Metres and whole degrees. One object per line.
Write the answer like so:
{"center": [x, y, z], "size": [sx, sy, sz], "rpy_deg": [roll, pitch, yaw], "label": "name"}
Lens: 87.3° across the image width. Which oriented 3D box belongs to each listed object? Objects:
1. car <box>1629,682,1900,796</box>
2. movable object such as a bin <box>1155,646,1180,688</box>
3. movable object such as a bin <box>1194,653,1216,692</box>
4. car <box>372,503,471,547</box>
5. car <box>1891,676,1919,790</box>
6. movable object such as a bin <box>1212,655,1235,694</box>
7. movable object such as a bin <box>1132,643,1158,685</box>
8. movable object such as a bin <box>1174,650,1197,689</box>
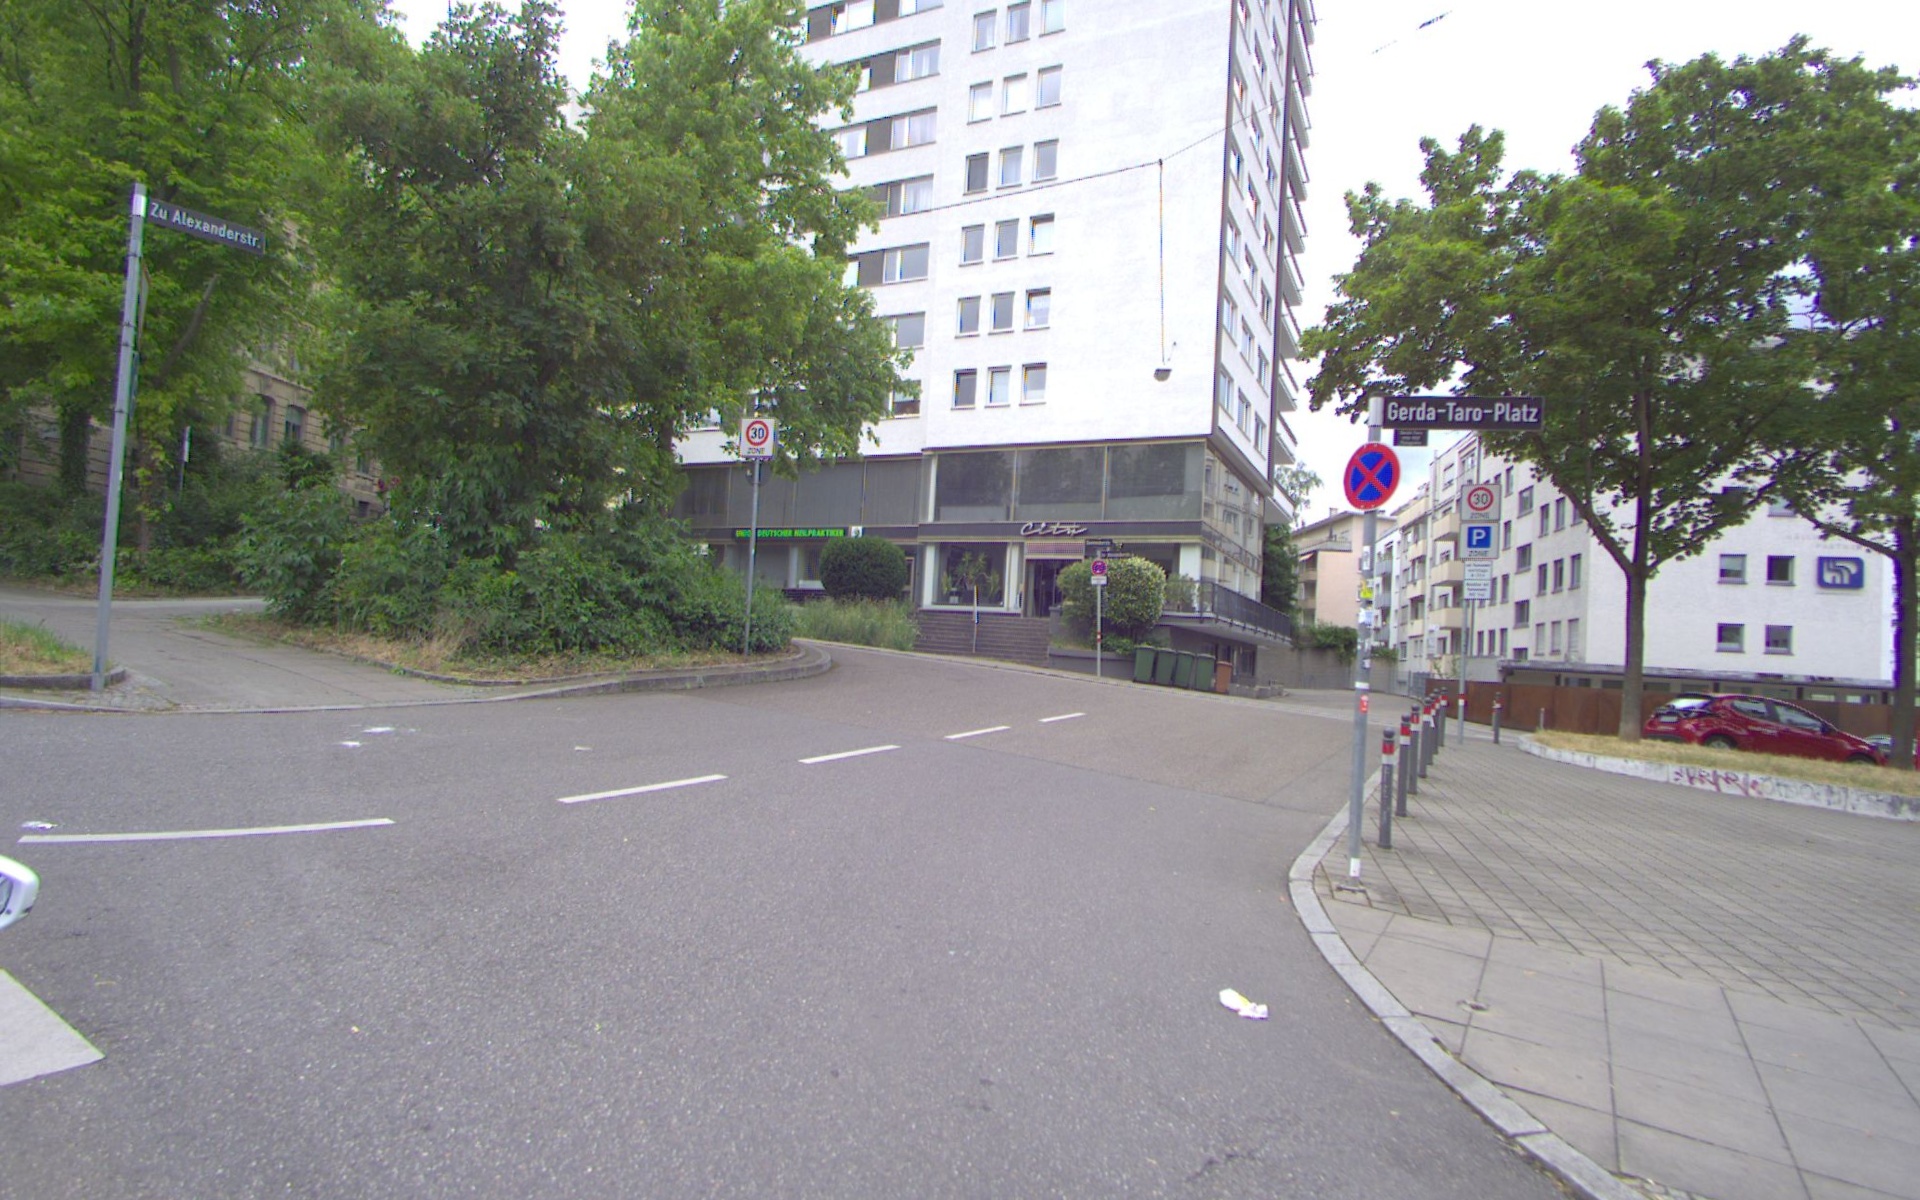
{"center": [15.563, 2.658, 19.637], "size": [3.646, 1.584, 1.750], "rpy_deg": [7, 0, 5], "label": "car"}
{"center": [5.839, 1.882, 28.376], "size": [0.565, 1.082, 0.554], "rpy_deg": [6, 0, 10], "label": "movable object such as a bin"}
{"center": [7.006, 2.065, 28.766], "size": [0.485, 1.037, 0.547], "rpy_deg": [6, 0, 10], "label": "movable object such as a bin"}
{"center": [-29.383, -4.055, 55.102], "size": [2.136, 1.959, 5.215], "rpy_deg": [4, 1, 7], "label": "car"}
{"center": [21.399, 2.911, 19.288], "size": [4.801, 2.240, 2.128], "rpy_deg": [7, 0, 3], "label": "car"}
{"center": [7.520, 2.115, 28.671], "size": [0.485, 1.030, 0.547], "rpy_deg": [6, 0, 10], "label": "movable object such as a bin"}
{"center": [5.242, 1.808, 28.479], "size": [0.599, 1.092, 0.554], "rpy_deg": [6, 0, 10], "label": "movable object such as a bin"}
{"center": [6.470, 1.993, 28.857], "size": [0.528, 1.054, 0.536], "rpy_deg": [6, 0, 10], "label": "movable object such as a bin"}
